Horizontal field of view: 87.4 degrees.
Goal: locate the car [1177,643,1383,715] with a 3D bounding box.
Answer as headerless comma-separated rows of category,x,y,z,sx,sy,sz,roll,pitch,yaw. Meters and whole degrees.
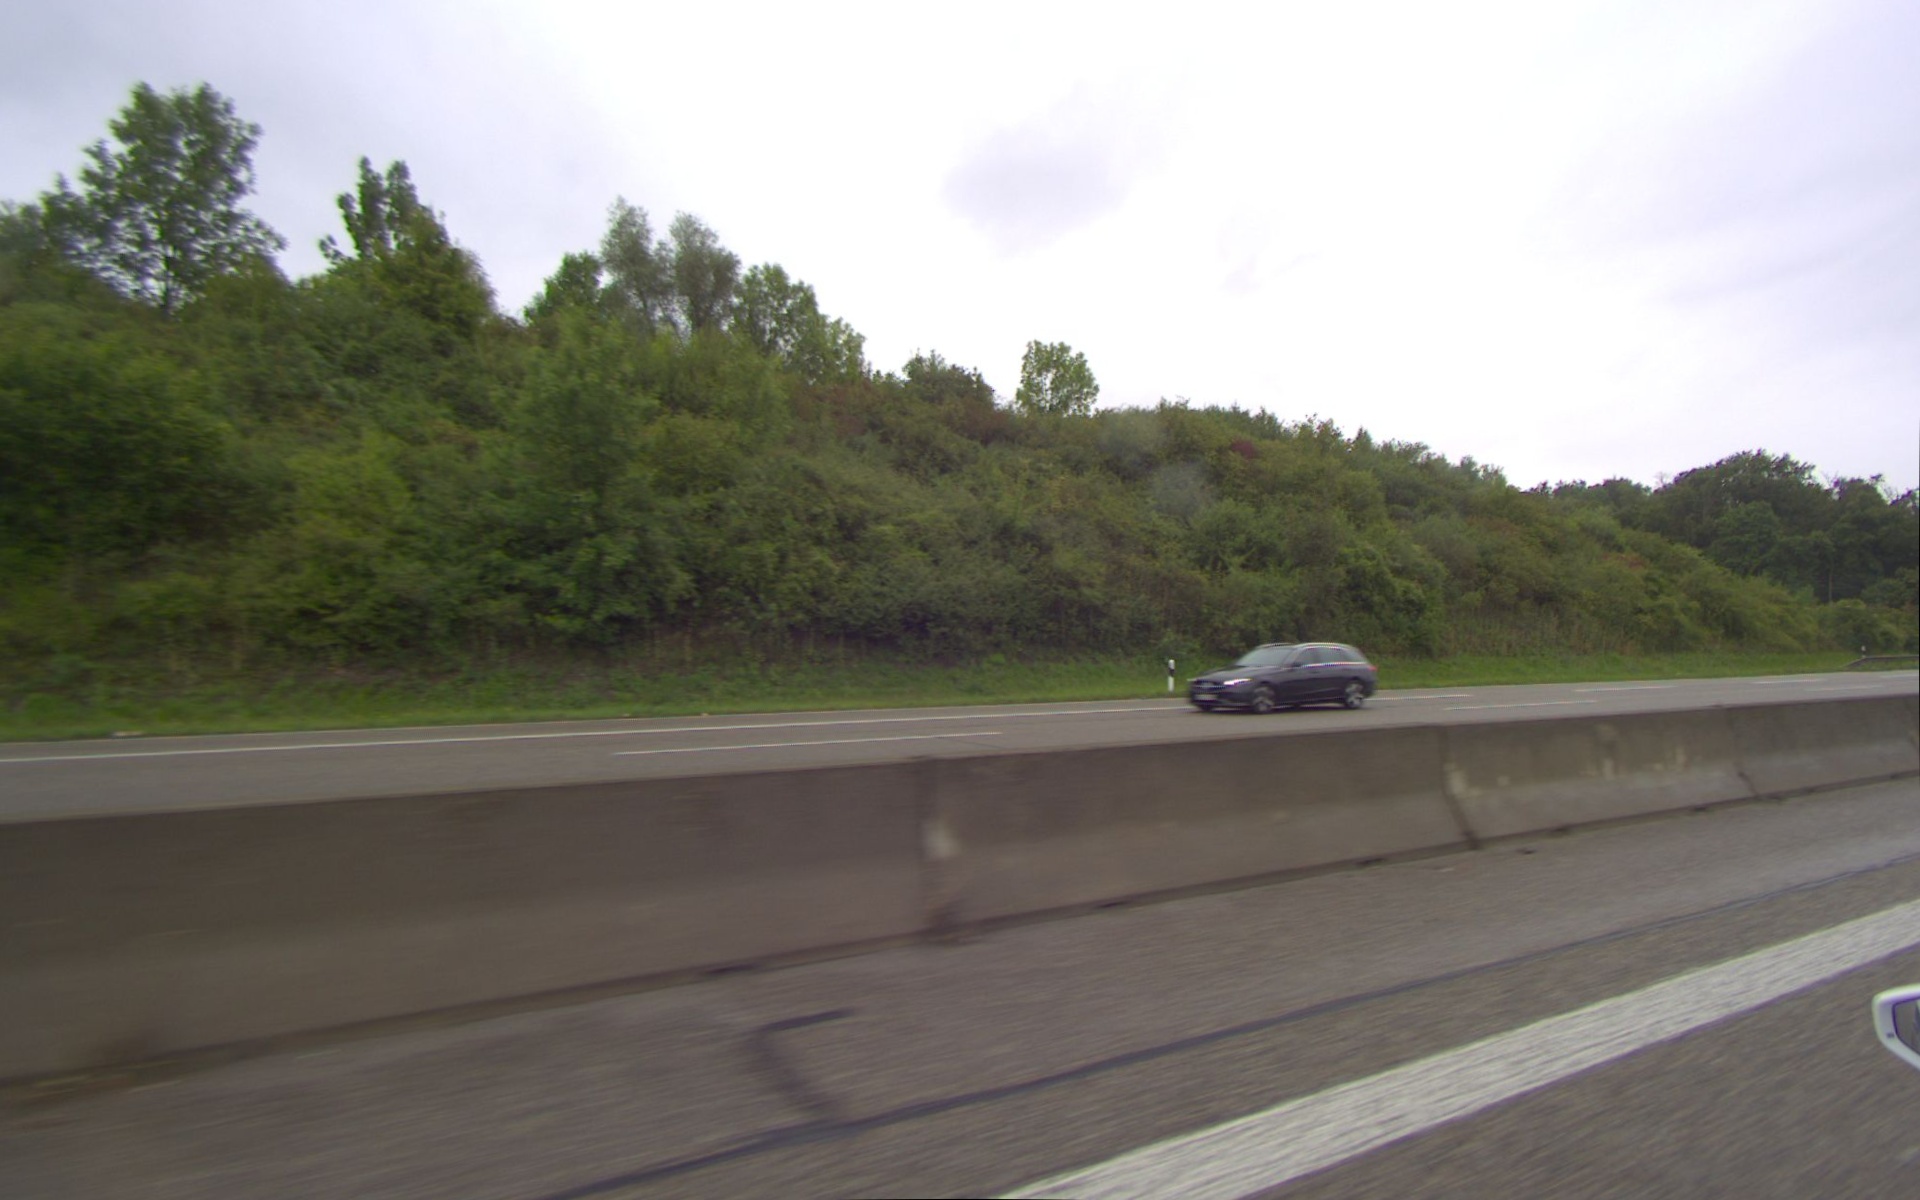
car,6.965,1.645,21.755,4.416,1.403,1.790,1,-2,-30
